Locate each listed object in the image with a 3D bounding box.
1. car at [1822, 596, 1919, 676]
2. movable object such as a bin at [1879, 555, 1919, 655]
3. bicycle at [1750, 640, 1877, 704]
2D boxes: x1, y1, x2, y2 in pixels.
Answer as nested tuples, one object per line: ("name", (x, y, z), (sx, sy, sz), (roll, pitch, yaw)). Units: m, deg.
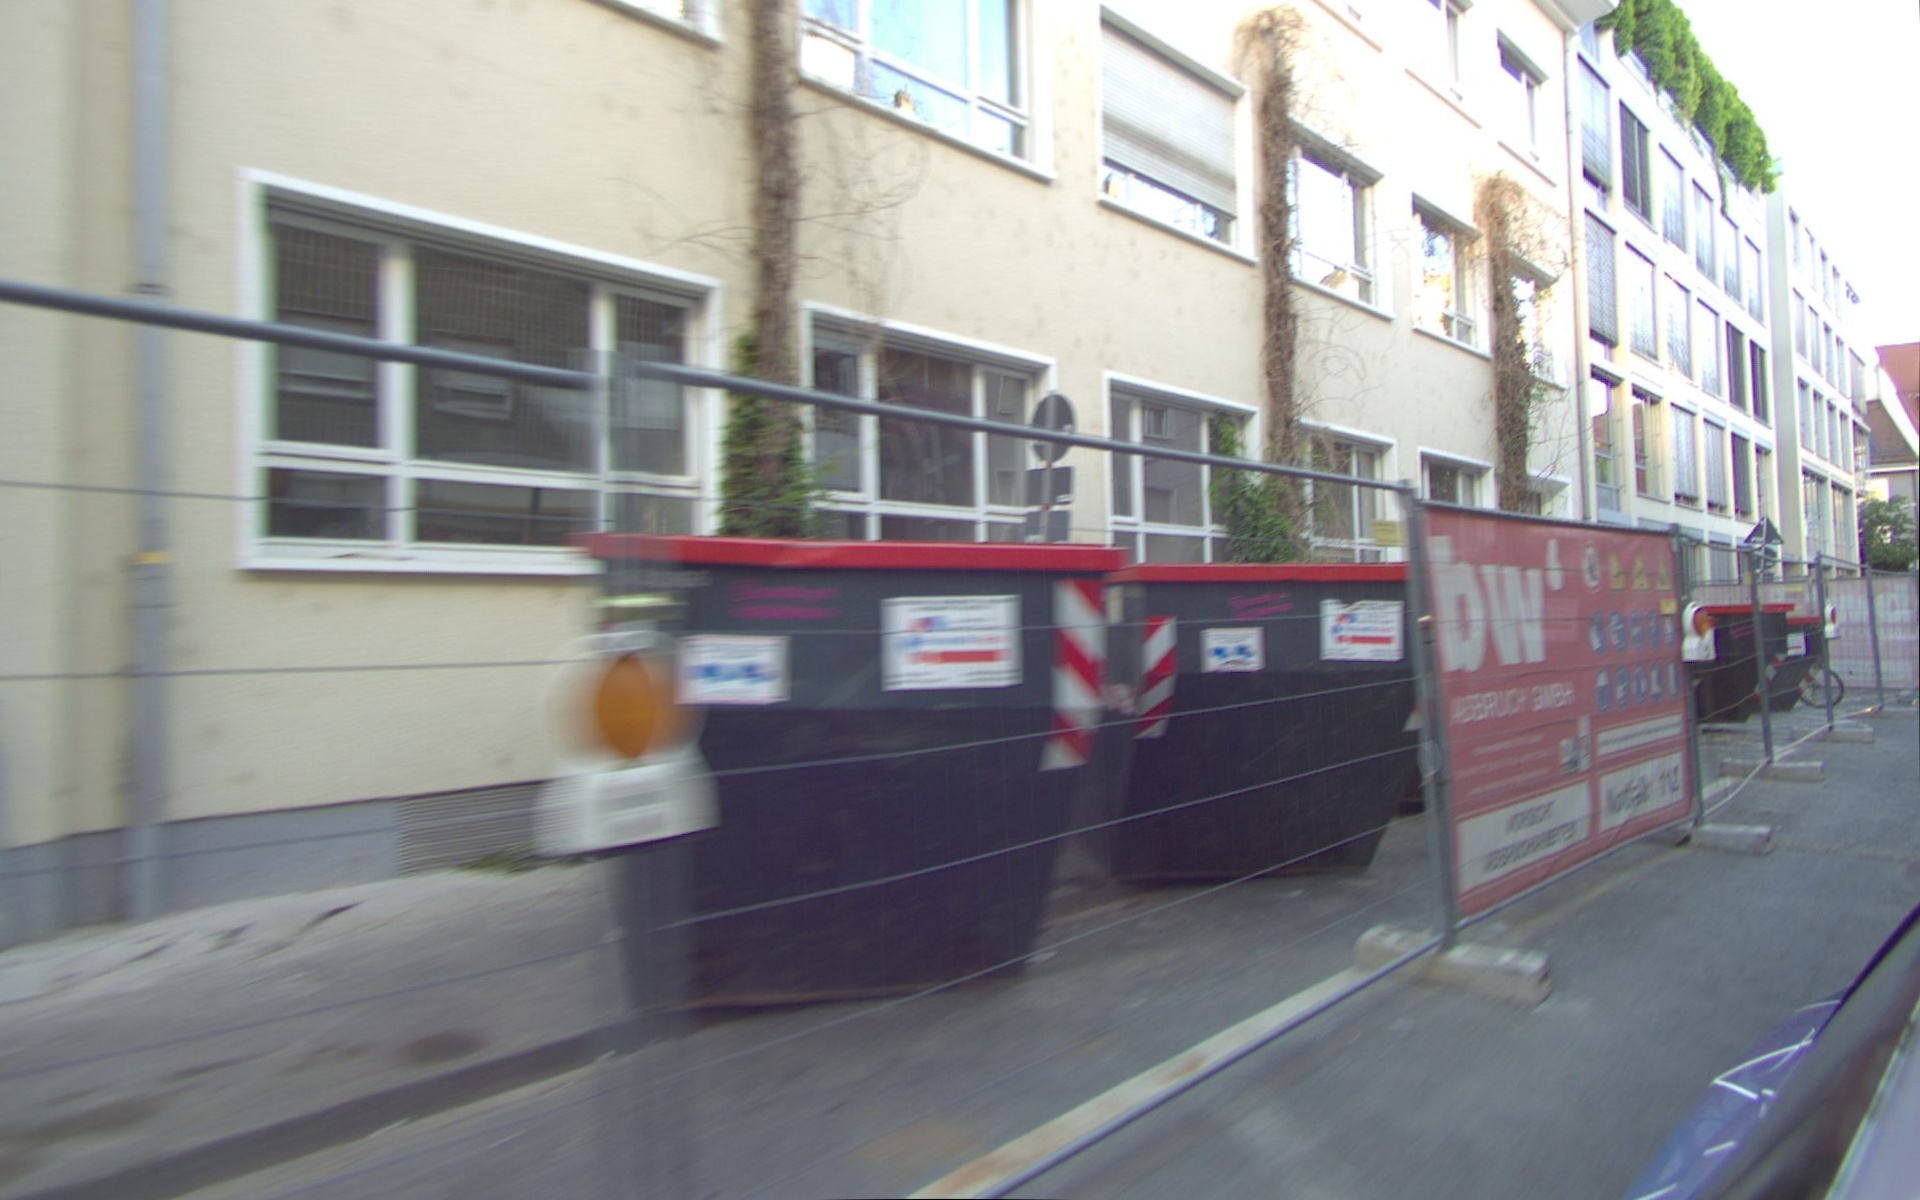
("car", (19.491, 0.710, 20.976), (4.369, 1.491, 1.789), (0, -4, -42))
("movable object such as a bin", (28.084, 0.114, 28.806), (5.649, 2.658, 2.018), (1, -5, -41))
("bicycle", (13.199, 1.092, 15.721), (0.451, 0.920, 1.805), (-1, -3, 2))
